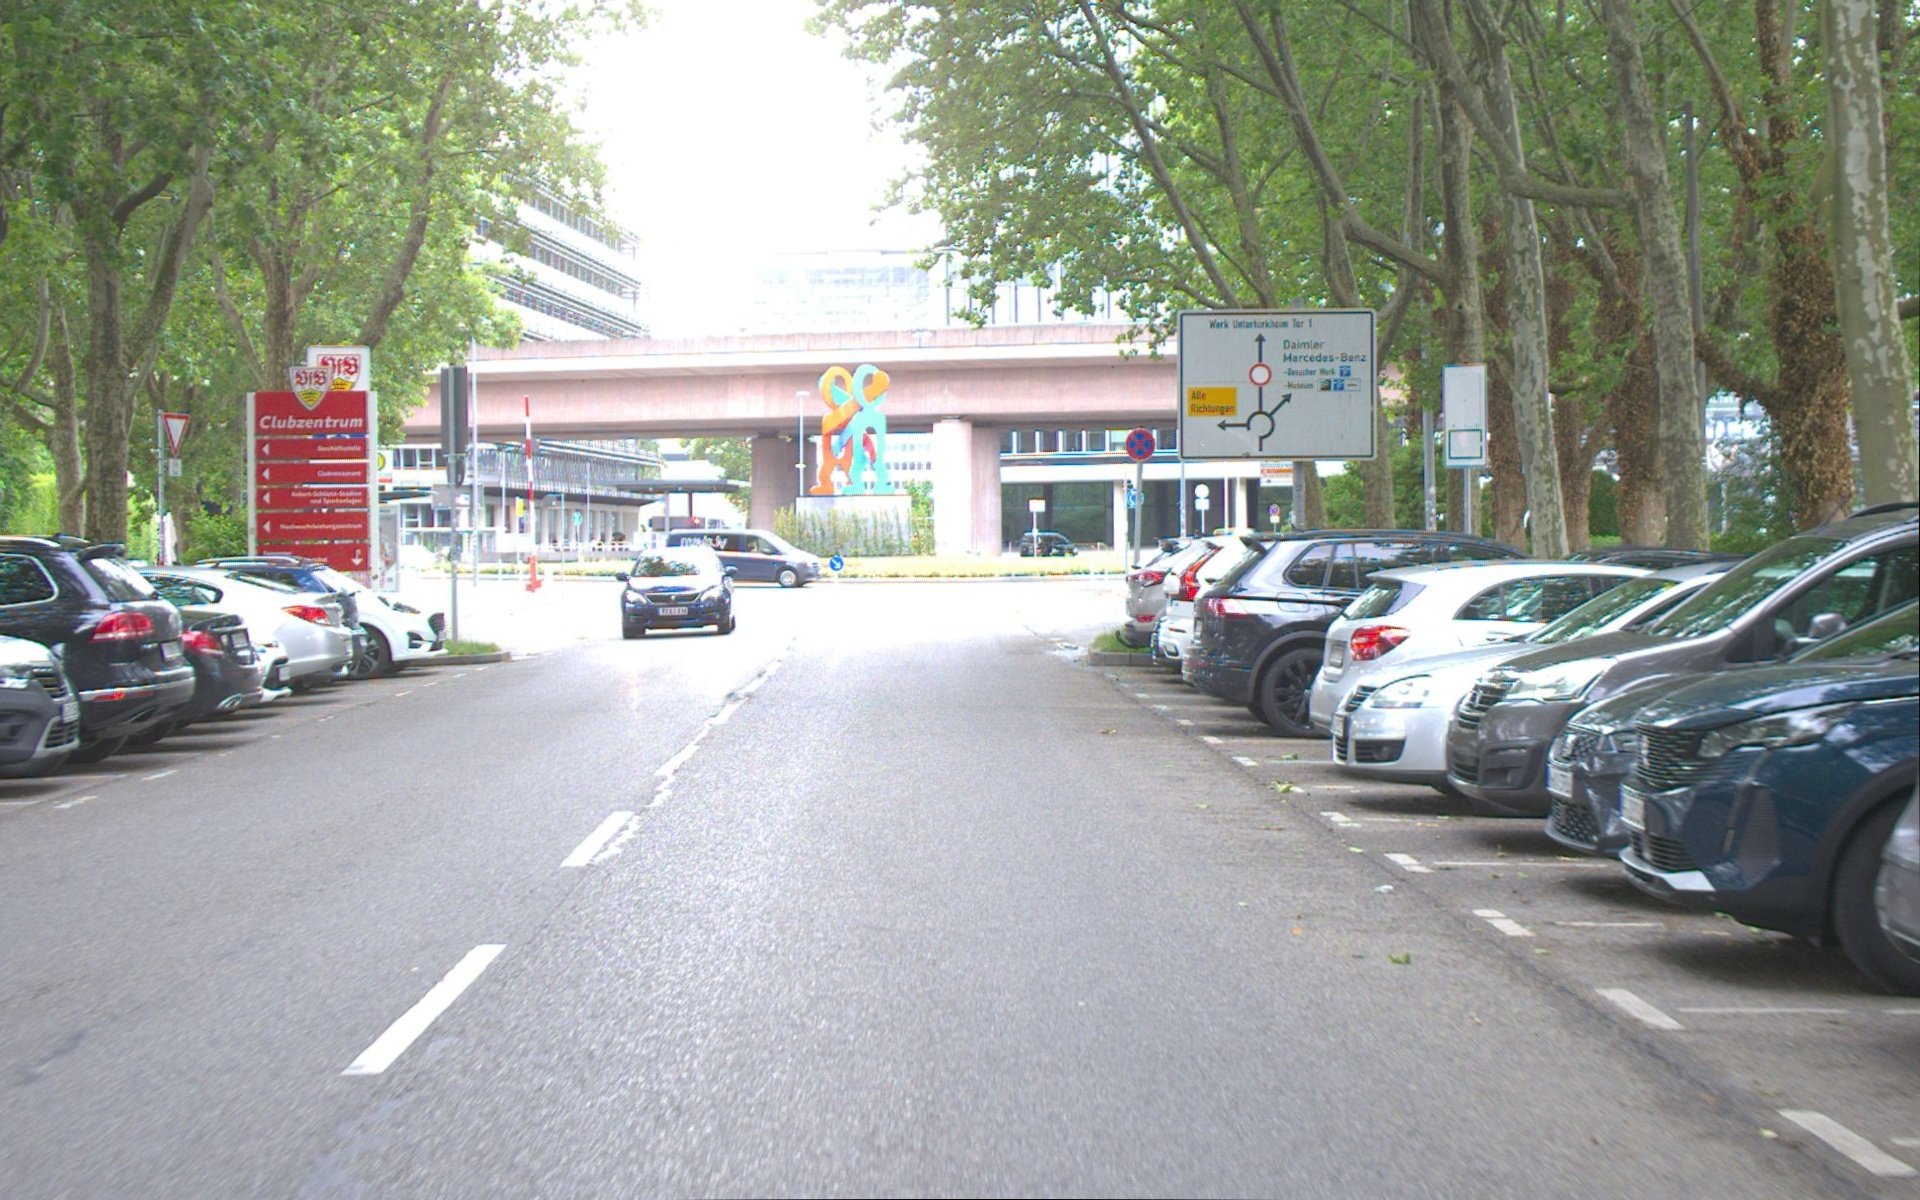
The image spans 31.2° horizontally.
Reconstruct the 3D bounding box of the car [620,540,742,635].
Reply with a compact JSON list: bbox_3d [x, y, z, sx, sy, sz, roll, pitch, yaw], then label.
[{"bbox_3d":[-4.612,-0.223,57.285,1.842,1.504,4.015,0,1,-2],"label":"car"}]

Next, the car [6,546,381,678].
[{"bbox_3d":[-8.913,0.131,40.199,3.993,1.488,1.832,0,1,-1],"label":"car"}]

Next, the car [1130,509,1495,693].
[{"bbox_3d":[4.037,-0.010,39.920,3.987,2.007,2.000,1,2,0],"label":"car"}]

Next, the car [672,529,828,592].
[{"bbox_3d":[-6.847,-1.289,112.493,4.769,2.007,2.283,0,1,7],"label":"car"}]

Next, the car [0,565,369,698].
[{"bbox_3d":[-8.642,0.332,37.806,3.987,1.400,1.862,0,1,-1],"label":"car"}]

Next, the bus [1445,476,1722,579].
[{"bbox_3d":[24.451,-2.795,134.647,11.045,3.921,2.759,0,1,-25],"label":"bus"}]

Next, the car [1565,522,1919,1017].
[{"bbox_3d":[4.652,0.582,12.416,4.591,1.633,1.872,1,2,1],"label":"car"}]

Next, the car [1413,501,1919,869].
[{"bbox_3d":[4.644,0.405,17.500,4.346,1.739,1.837,1,2,-2],"label":"car"}]

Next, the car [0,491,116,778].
[{"bbox_3d":[-7.933,0.275,22.583,4.317,1.804,1.868,-2,1,-4],"label":"car"}]

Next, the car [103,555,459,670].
[{"bbox_3d":[-8.400,0.140,42.736,3.994,1.380,1.911,0,1,3],"label":"car"}]

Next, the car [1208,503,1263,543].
[{"bbox_3d":[14.310,-3.985,178.398,1.995,2.007,3.997,1,1,17],"label":"car"}]

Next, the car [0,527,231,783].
[{"bbox_3d":[-7.695,0.365,25.103,4.317,1.789,2.037,0,1,0],"label":"car"}]

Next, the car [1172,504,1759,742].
[{"bbox_3d":[3.982,0.164,27.624,4.346,1.755,1.926,1,1,-2],"label":"car"}]

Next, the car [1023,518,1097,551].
[{"bbox_3d":[5.515,-3.580,189.340,1.998,1.766,3.991,1,1,40],"label":"car"}]

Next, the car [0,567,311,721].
[{"bbox_3d":[-8.280,0.393,32.445,3.986,1.399,1.885,0,1,-2],"label":"car"}]

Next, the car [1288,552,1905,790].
[{"bbox_3d":[4.098,0.441,22.493,3.639,1.422,1.666,1,2,-4],"label":"car"}]

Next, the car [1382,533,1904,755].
[{"bbox_3d":[4.946,0.295,25.209,3.434,1.487,1.680,-1,1,-2],"label":"car"}]

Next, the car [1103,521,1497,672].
[{"bbox_3d":[3.901,-0.064,40.005,4.346,1.628,1.926,1,2,0],"label":"car"}]

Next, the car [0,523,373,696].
[{"bbox_3d":[-8.287,0.104,35.064,4.263,1.543,1.908,-3,1,-2],"label":"car"}]

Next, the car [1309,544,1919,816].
[{"bbox_3d":[4.206,0.439,19.964,4.148,1.453,1.727,1,1,0],"label":"car"}]

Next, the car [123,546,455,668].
[{"bbox_3d":[-8.770,0.079,45.145,3.994,1.535,1.805,0,1,1],"label":"car"}]

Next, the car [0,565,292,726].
[{"bbox_3d":[-8.076,0.370,29.967,4.188,1.349,1.967,0,1,-3],"label":"car"}]

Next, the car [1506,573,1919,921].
[{"bbox_3d":[4.571,0.625,15.067,4.040,1.375,1.744,1,2,0],"label":"car"}]

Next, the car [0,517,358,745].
[{"bbox_3d":[-7.527,0.267,29.560,4.317,1.804,1.868,-2,1,0],"label":"car"}]

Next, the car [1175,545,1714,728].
[{"bbox_3d":[4.160,0.293,30.020,4.346,1.451,1.950,1,2,-2],"label":"car"}]

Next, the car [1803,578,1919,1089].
[{"bbox_3d":[4.886,0.701,10.027,4.346,1.408,1.926,1,2,0],"label":"car"}]

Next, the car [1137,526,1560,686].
[{"bbox_3d":[4.163,0.046,37.388,4.346,1.599,1.926,1,2,0],"label":"car"}]

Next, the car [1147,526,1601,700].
[{"bbox_3d":[4.147,0.107,34.981,4.346,1.628,1.926,1,2,0],"label":"car"}]

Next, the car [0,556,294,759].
[{"bbox_3d":[-7.640,0.488,27.547,4.129,1.447,2.013,-3,1,1],"label":"car"}]
